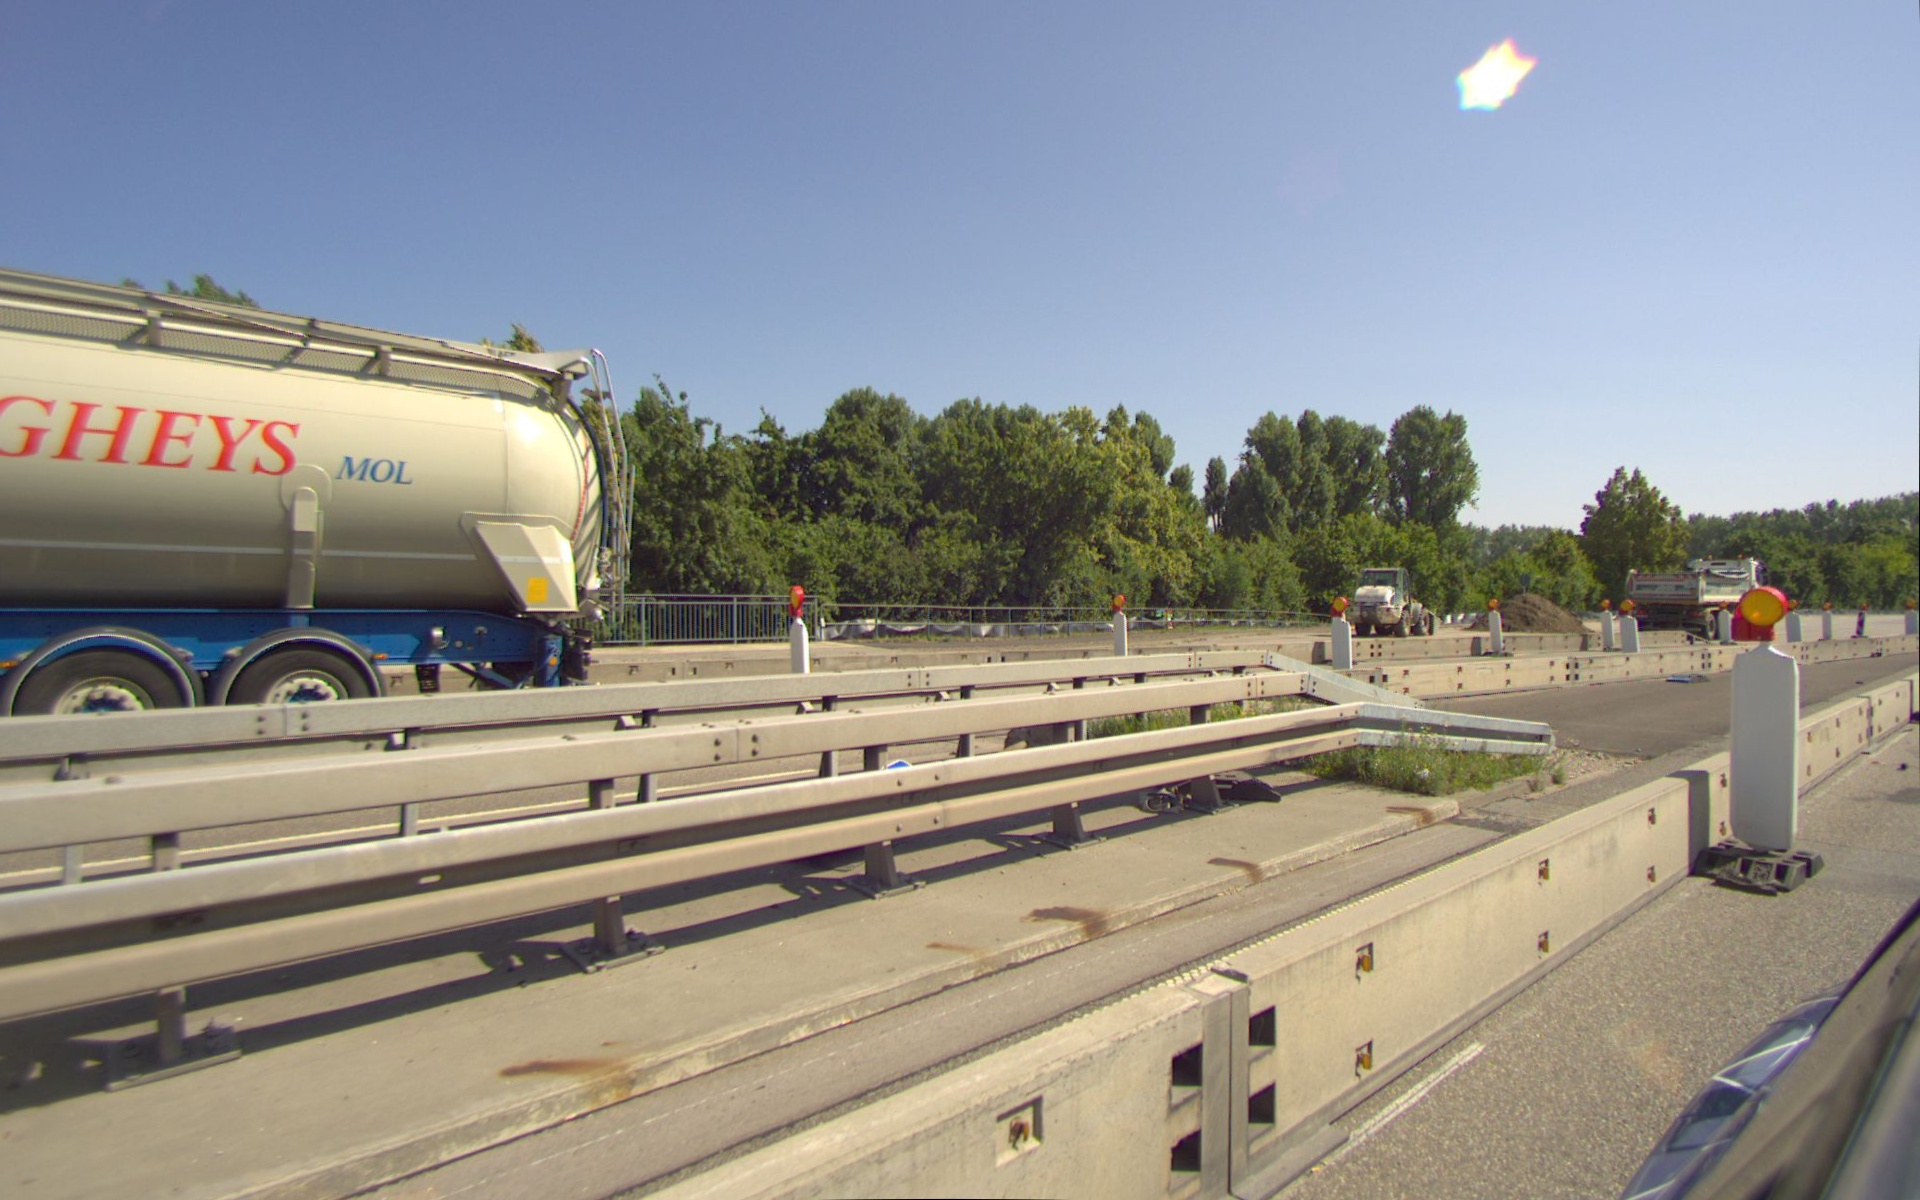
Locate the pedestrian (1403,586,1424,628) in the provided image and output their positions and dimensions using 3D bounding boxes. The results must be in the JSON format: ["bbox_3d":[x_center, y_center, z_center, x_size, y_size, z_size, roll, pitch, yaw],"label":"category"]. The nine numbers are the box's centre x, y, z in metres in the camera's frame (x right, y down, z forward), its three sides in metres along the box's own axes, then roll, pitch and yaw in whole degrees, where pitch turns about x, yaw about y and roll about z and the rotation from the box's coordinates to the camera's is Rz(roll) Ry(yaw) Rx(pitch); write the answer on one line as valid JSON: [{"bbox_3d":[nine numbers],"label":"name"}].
[{"bbox_3d":[19.260,0.300,42.979,0.523,1.770,0.664,1,0,-45],"label":"pedestrian"}]

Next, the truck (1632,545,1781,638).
[{"bbox_3d":[30.936,-0.359,41.800,8.573,3.475,2.607,0,1,-37],"label":"truck"}]

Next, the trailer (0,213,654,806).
[{"bbox_3d":[-8.746,-0.656,7.319,12.384,4.189,2.701,0,1,-38],"label":"trailer"}]

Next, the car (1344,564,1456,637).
[{"bbox_3d":[17.447,-0.020,39.919,2.105,2.675,5.889,1,1,44],"label":"car"}]
